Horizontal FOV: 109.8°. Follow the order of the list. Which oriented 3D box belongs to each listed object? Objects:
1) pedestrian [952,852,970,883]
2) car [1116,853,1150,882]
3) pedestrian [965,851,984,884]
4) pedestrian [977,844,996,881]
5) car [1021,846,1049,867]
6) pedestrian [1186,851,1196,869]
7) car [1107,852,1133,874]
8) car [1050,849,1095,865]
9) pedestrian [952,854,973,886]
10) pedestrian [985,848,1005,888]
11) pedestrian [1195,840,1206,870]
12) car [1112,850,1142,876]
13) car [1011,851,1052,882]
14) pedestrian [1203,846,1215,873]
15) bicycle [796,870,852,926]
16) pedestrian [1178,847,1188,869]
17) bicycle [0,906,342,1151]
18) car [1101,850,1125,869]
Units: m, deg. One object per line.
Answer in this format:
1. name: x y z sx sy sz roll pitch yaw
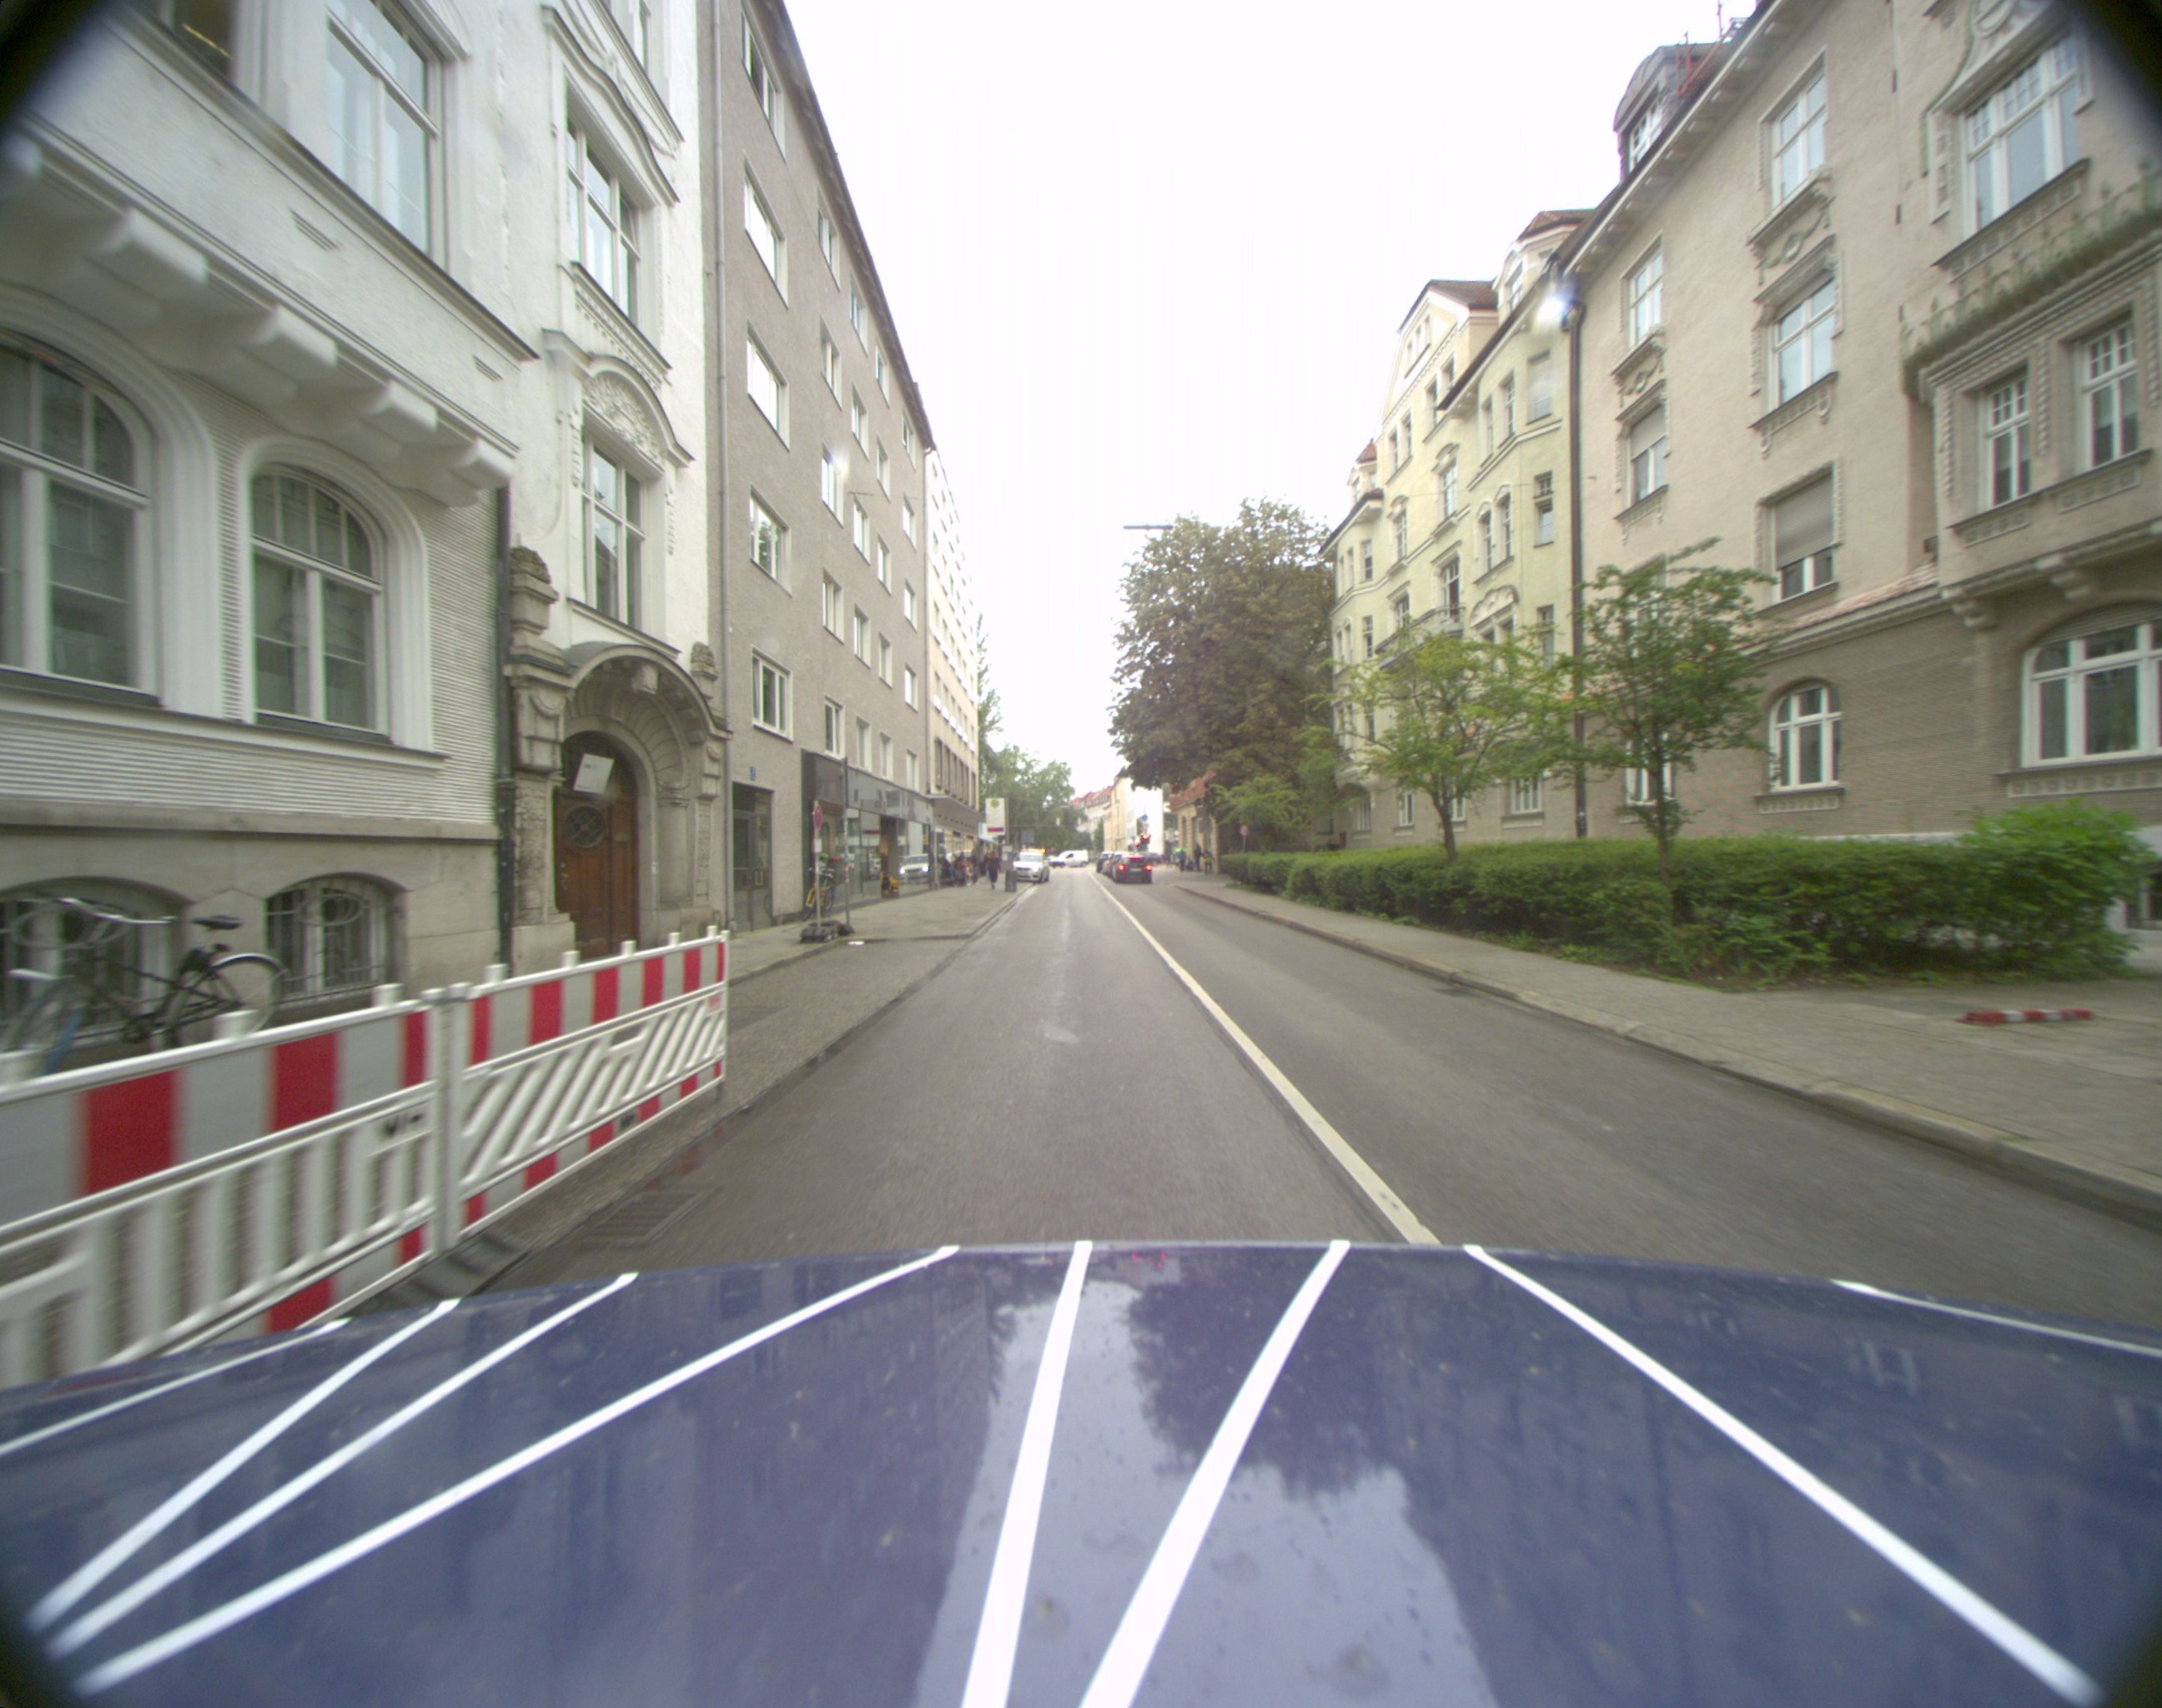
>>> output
1. pedestrian: -5.613 0.628 35.571 0.747 1.439 0.571 -1 1 0
2. car: 2.754 0.687 40.057 1.723 1.398 4.001 -1 0 4
3. pedestrian: -5.198 0.633 37.235 0.837 1.580 0.806 -1 1 -4
4. pedestrian: -4.868 0.434 39.242 0.826 1.849 0.820 -1 1 -1
5. car: -3.739 0.182 62.445 1.723 1.622 4.001 -1 0 4
6. pedestrian: 7.757 0.411 53.593 0.546 1.237 0.577 -1 1 0
7. car: 2.762 0.596 53.089 1.723 1.398 4.001 -1 0 4
8. car: -0.958 0.339 82.829 4.610 1.648 1.915 -1 1 -35
9. pedestrian: -5.352 0.729 34.360 0.837 1.399 0.866 -1 1 -4
10. pedestrian: -3.695 0.590 32.648 0.745 1.706 0.616 -1 1 0
11. pedestrian: 7.966 0.058 50.757 0.625 1.945 0.662 -1 1 0
12. car: 2.879 0.503 47.159 1.723 1.536 4.001 -1 0 4
13. car: -2.677 0.667 42.177 1.723 1.622 4.001 -1 0 4
14. pedestrian: 7.686 0.323 45.689 0.625 1.611 0.662 -1 1 0
15. bicycle: -5.671 0.948 16.862 0.593 1.111 1.845 -1 1 0
16. pedestrian: 7.276 0.284 54.036 0.625 1.579 0.662 -1 1 0
17. bicycle: -5.855 0.974 4.807 0.684 1.164 1.653 -1 1 2
18. car: 2.542 0.406 60.023 1.723 1.398 4.001 -1 0 4
